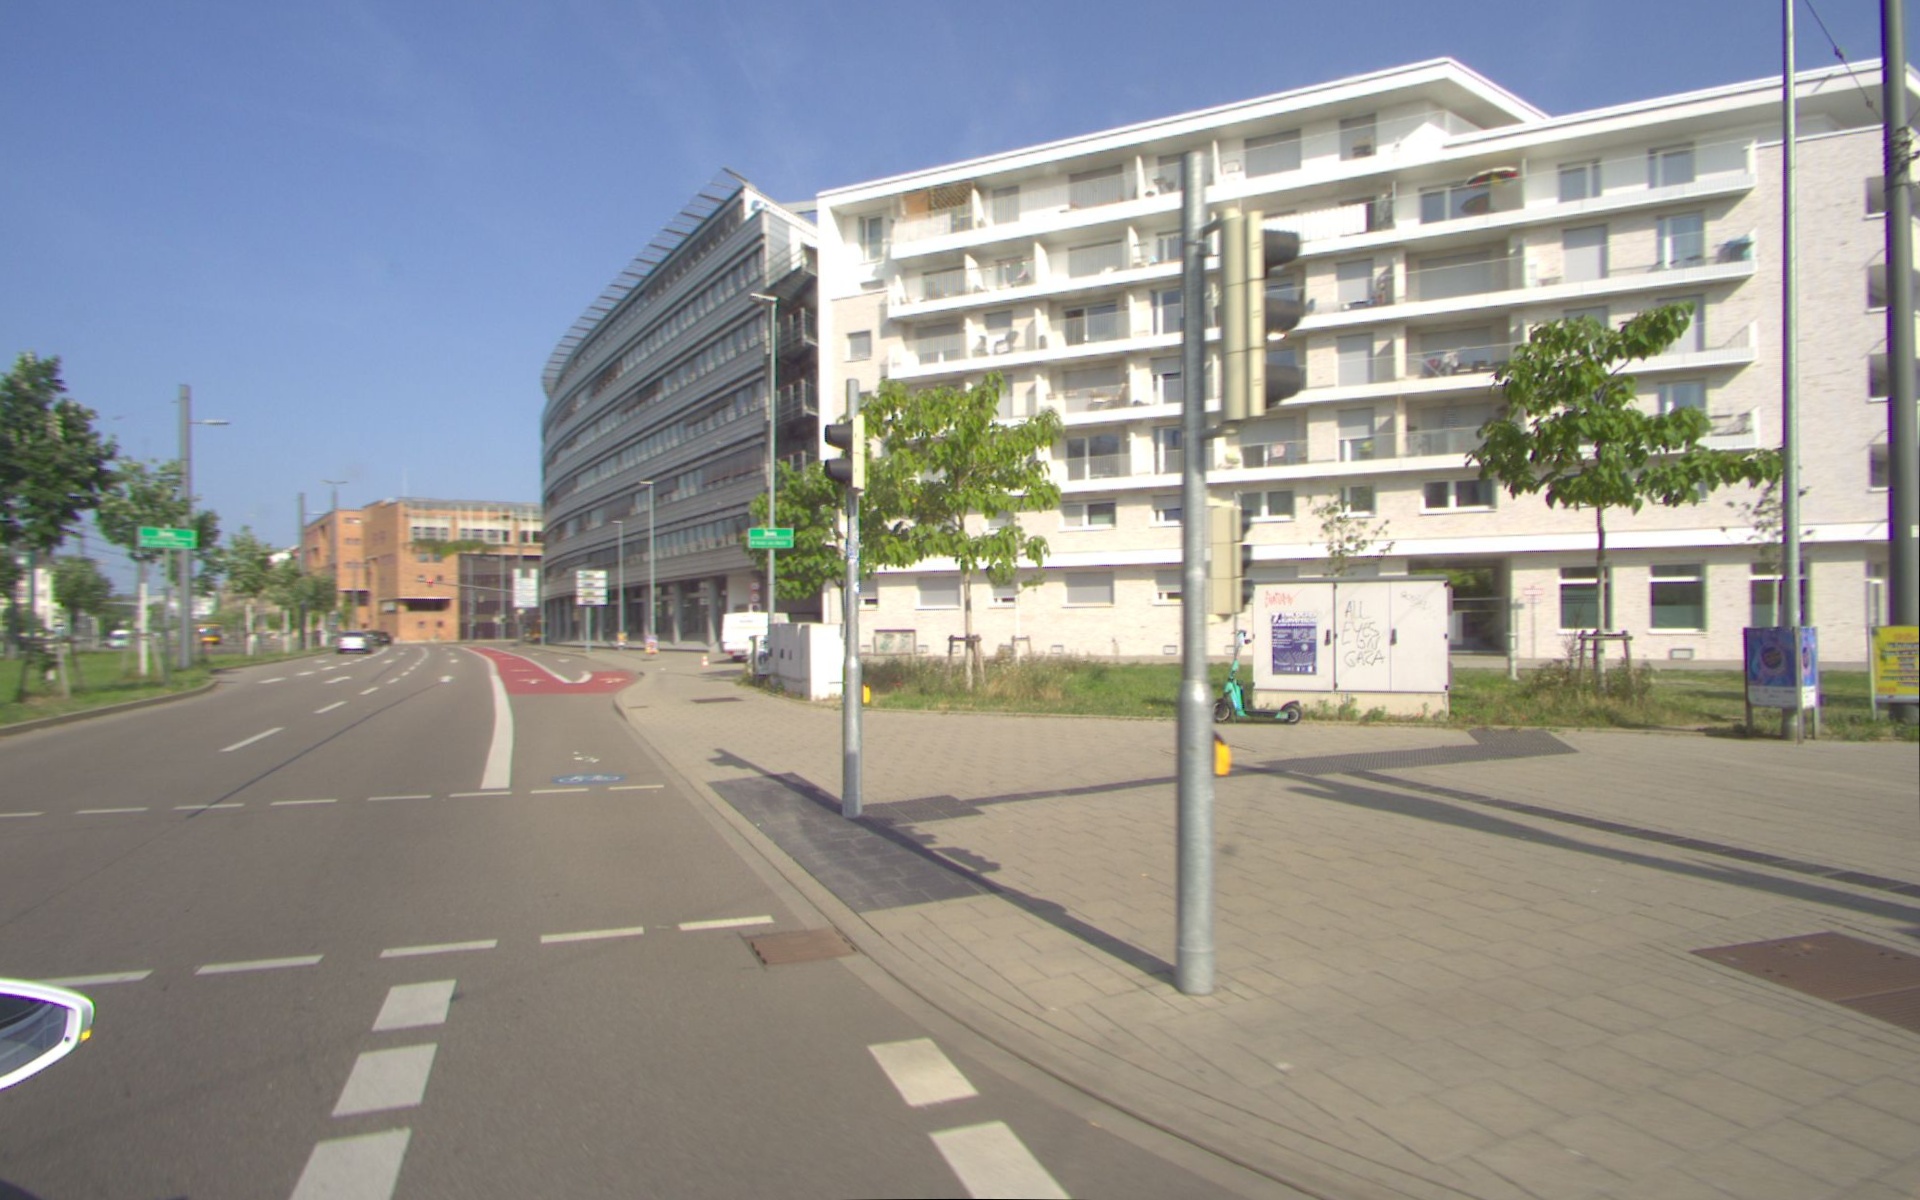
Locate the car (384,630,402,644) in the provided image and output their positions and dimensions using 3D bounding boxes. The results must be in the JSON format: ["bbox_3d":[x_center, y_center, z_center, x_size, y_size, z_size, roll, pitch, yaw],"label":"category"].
[{"bbox_3d":[-65.068,4.284,114.849,1.754,1.528,3.503,0,-3,-31],"label":"car"}]

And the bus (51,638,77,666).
[{"bbox_3d":[-131.429,7.712,146.962,2.727,3.969,12.114,1,-4,-41],"label":"bus"}]

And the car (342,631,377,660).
[{"bbox_3d":[-38.467,2.951,64.226,1.685,1.777,3.875,0,-3,-28],"label":"car"}]

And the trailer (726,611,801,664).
[{"bbox_3d":[-8.598,1.631,44.365,2.350,2.179,5.951,0,-1,-2],"label":"trailer"}]
